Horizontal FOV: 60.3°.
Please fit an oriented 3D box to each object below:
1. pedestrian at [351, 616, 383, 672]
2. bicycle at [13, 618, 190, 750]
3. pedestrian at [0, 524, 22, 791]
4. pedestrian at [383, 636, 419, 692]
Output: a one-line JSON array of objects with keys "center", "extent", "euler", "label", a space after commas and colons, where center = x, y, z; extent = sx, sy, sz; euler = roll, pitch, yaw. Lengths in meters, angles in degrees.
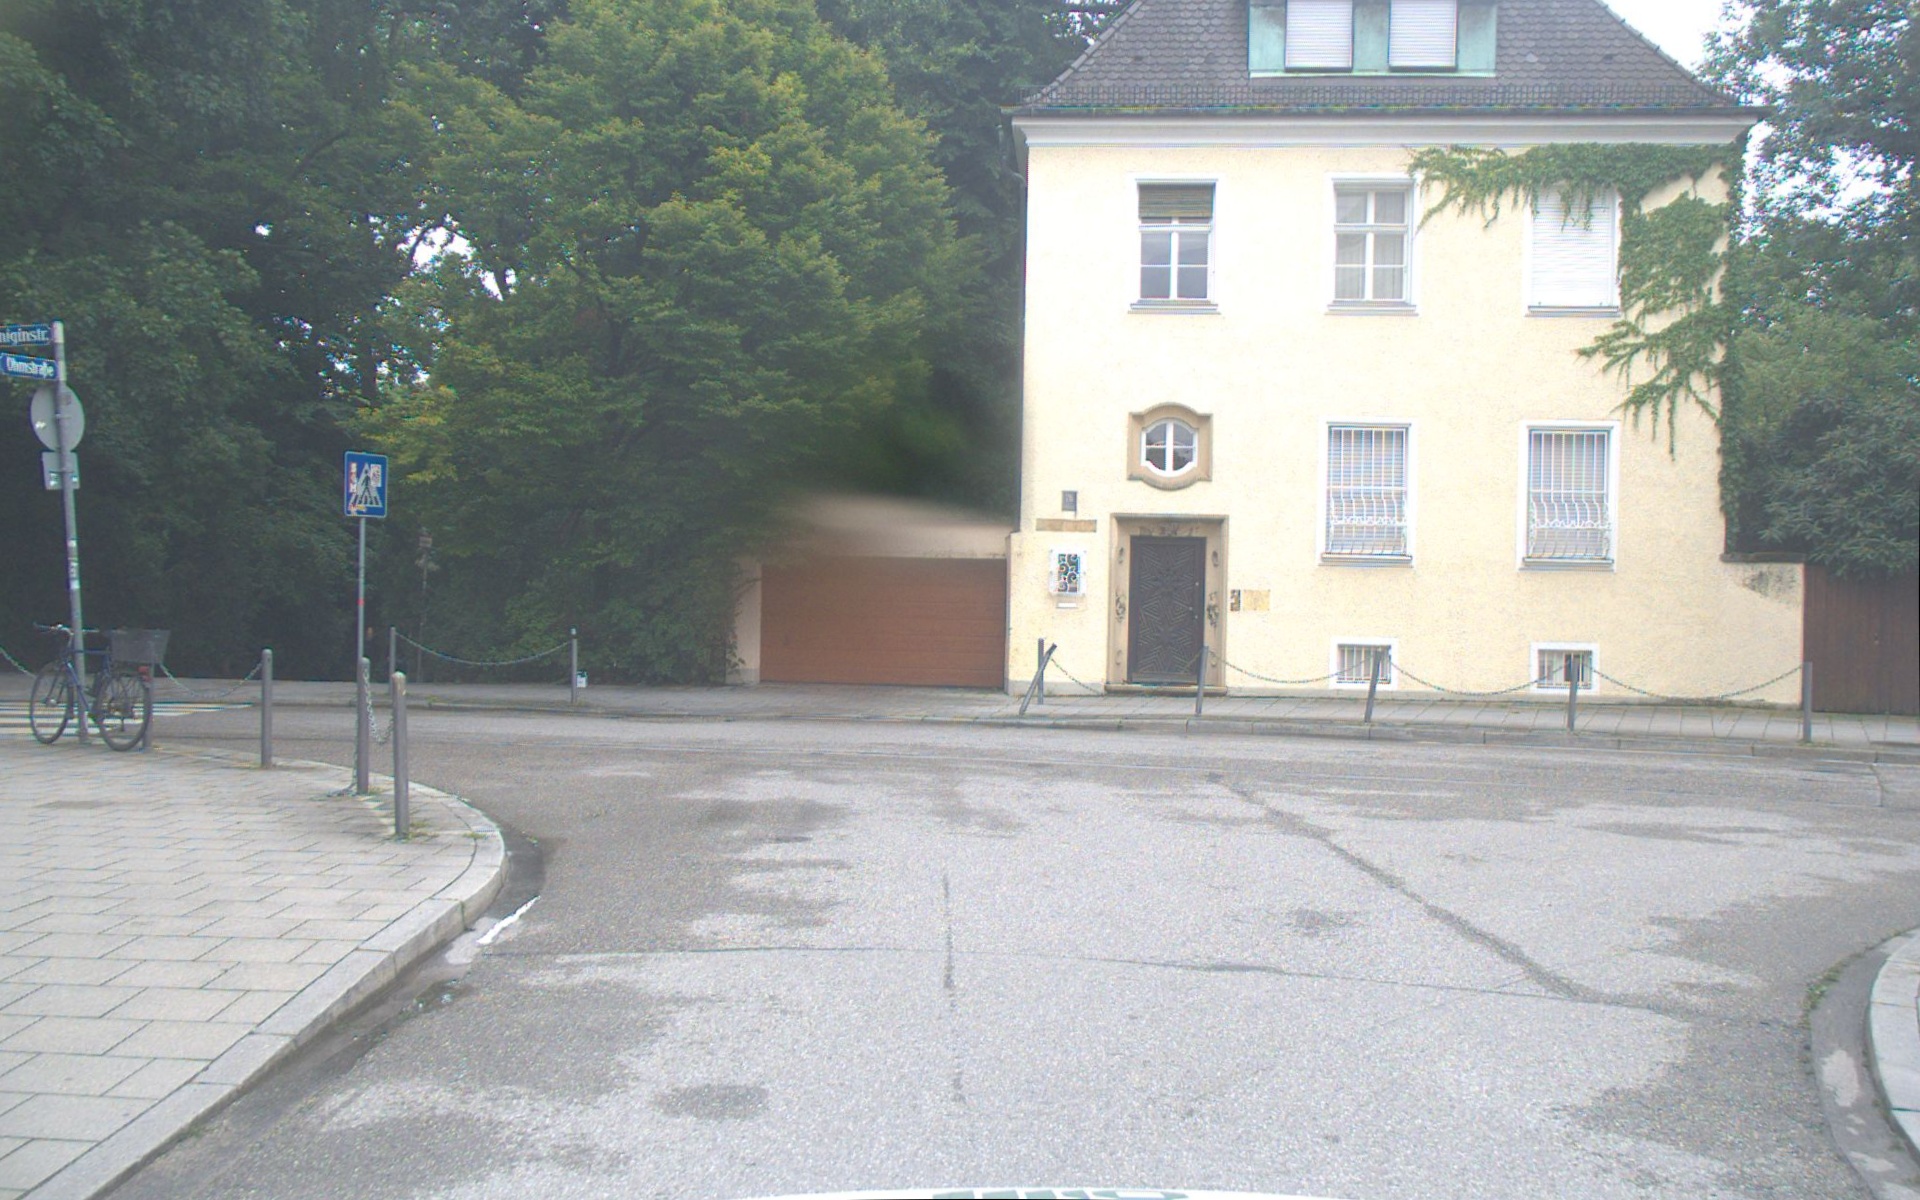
[{"center": [-12.912, 0.954, 36.038], "extent": [0.461, 1.176, 0.497], "euler": [2, 0, 4], "label": "pedestrian"}, {"center": [-7.515, 0.704, 14.439], "extent": [1.967, 1.028, 0.510], "euler": [2, 0, 35], "label": "bicycle"}, {"center": [-6.451, 0.348, 10.426], "extent": [0.805, 1.670, 0.716], "euler": [2, 0, -38], "label": "pedestrian"}, {"center": [-12.238, 1.393, 36.199], "extent": [0.573, 1.189, 0.497], "euler": [2, 0, 4], "label": "pedestrian"}]
